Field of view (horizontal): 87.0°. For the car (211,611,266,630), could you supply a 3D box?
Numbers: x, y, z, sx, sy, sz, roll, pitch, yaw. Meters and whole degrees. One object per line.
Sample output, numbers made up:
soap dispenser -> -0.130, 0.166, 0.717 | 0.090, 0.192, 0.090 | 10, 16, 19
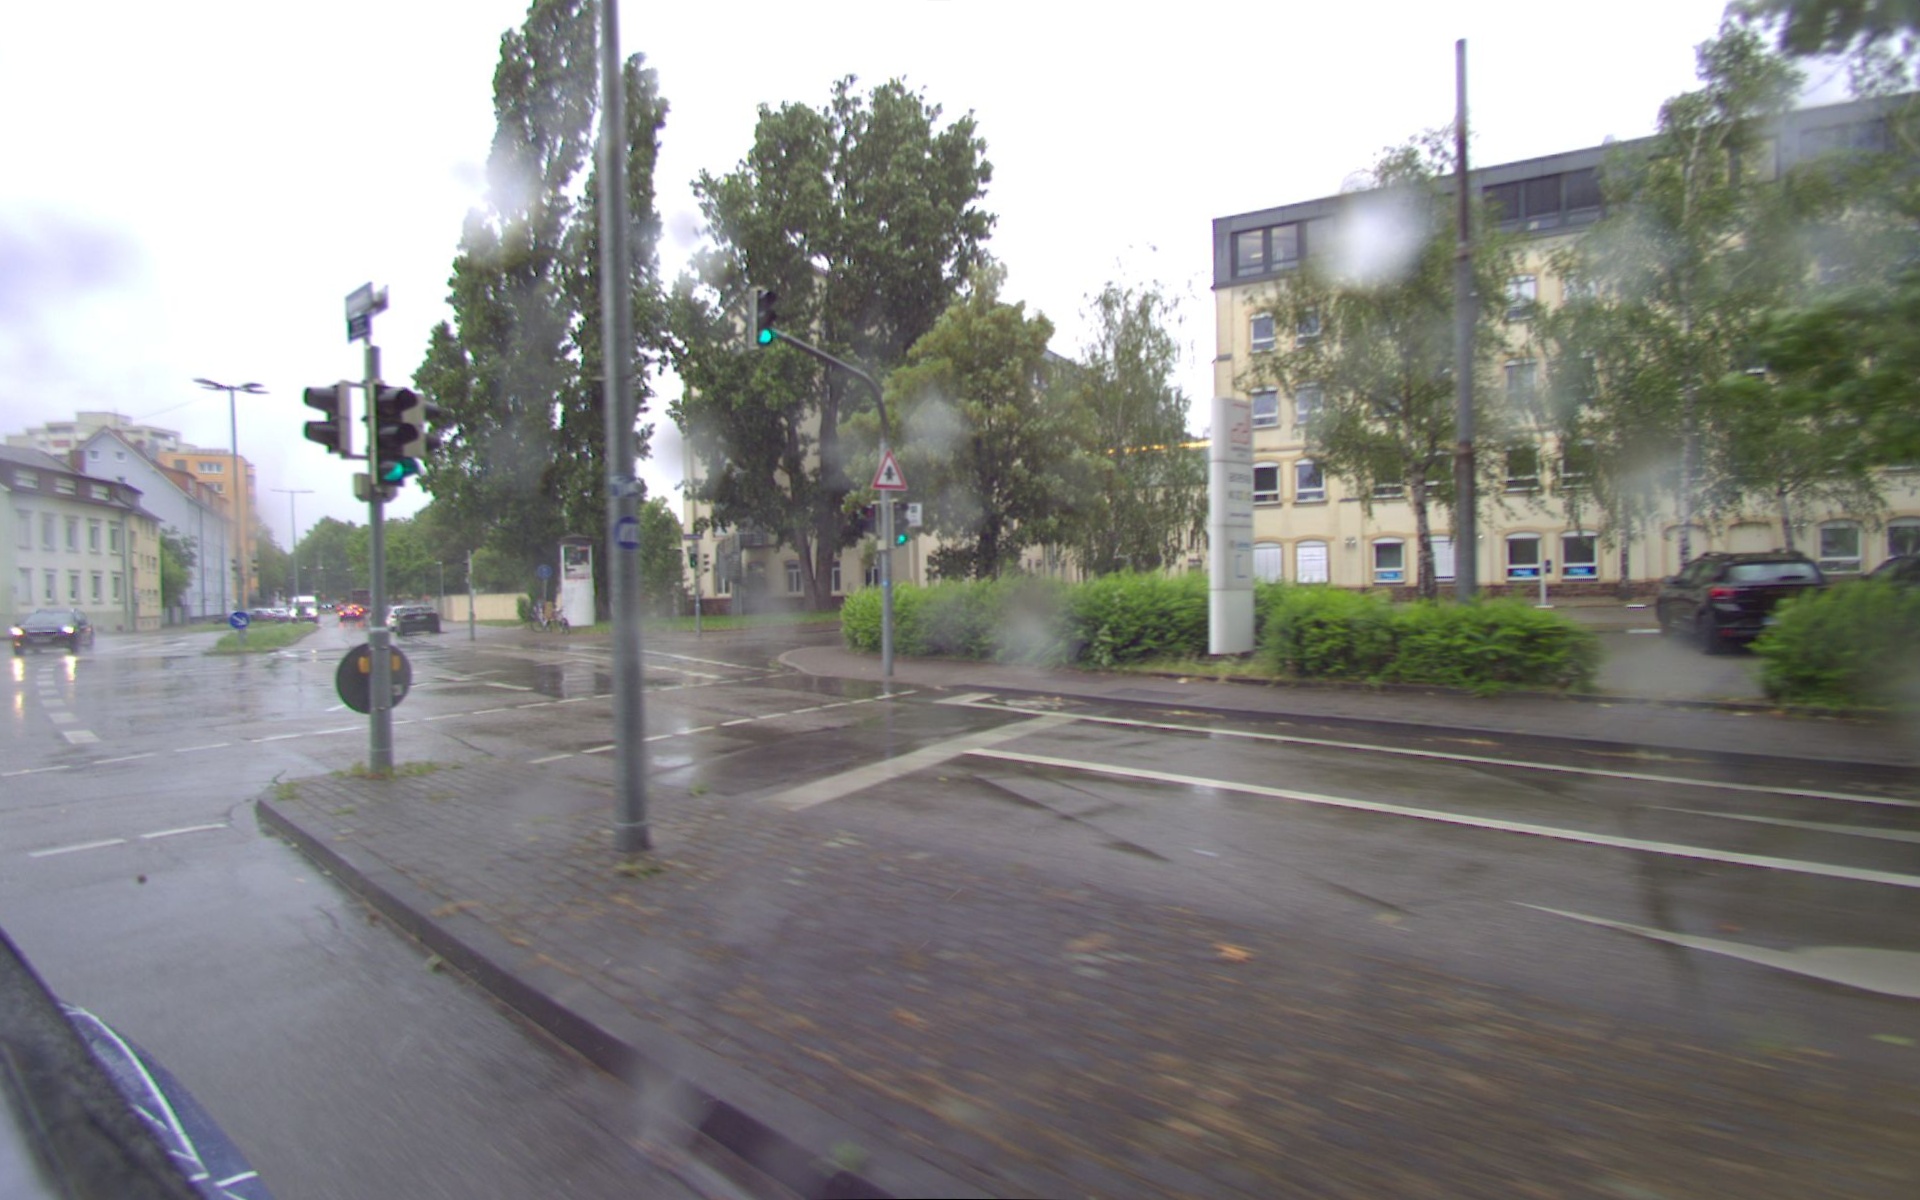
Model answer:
car -> -62.402, 1.788, 87.612 | 3.699, 1.465, 1.806 | -3, -1, -30

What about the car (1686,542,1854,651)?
car -> 13.297, -0.120, 16.528 | 1.924, 1.549, 3.945 | -1, 2, 42

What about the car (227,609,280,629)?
car -> -67.158, 1.784, 96.264 | 3.859, 1.627, 1.697 | -3, 1, -29

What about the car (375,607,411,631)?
car -> -36.862, 1.227, 65.757 | 1.703, 1.393, 4.192 | -4, 2, -32

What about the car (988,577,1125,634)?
car -> 3.074, 0.184, 32.343 | 4.000, 1.699, 1.768 | -1, 0, 24

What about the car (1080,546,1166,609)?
car -> 9.012, -1.267, 55.435 | 2.825, 3.217, 6.159 | -1, 1, 27

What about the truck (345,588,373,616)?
truck -> -102.388, 0.326, 172.535 | 3.770, 4.417, 10.819 | -3, 1, -30

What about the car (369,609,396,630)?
car -> -44.670, 1.520, 78.272 | 1.673, 1.456, 4.109 | -3, 2, -31

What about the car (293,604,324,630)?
car -> -60.730, 1.527, 94.386 | 2.158, 2.272, 4.899 | -3, 1, -30

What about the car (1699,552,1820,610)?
car -> 22.822, -0.527, 29.045 | 1.991, 1.530, 3.962 | -1, 0, 28

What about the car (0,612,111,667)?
car -> -31.398, 1.317, 35.268 | 1.802, 1.641, 4.013 | -3, 1, -26

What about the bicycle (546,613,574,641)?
bicycle -> -16.311, 1.100, 41.246 | 0.548, 1.085, 1.800 | -3, 1, -36

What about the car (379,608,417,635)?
car -> -33.847, 1.268, 60.916 | 1.580, 1.485, 4.133 | -3, 1, -34

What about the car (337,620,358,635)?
car -> -61.074, 2.721, 100.877 | 1.703, 1.404, 3.962 | 1, -1, -32

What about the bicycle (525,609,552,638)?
bicycle -> -18.330, 1.019, 43.997 | 0.688, 1.195, 1.628 | -3, 1, -36

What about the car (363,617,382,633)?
car -> -62.232, 2.629, 107.256 | 1.667, 1.464, 3.730 | -3, 1, -29

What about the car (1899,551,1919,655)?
car -> 15.398, -0.040, 15.096 | 1.924, 1.434, 3.945 | -1, 2, 42

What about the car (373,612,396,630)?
car -> -54.965, 1.993, 96.641 | 1.750, 1.471, 4.694 | -3, 1, -31

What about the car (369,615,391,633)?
car -> -58.814, 2.416, 102.629 | 1.602, 1.610, 3.808 | -3, 1, -33

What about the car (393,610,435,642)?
car -> -27.848, 1.297, 51.537 | 1.523, 1.407, 4.206 | -4, 2, -32
